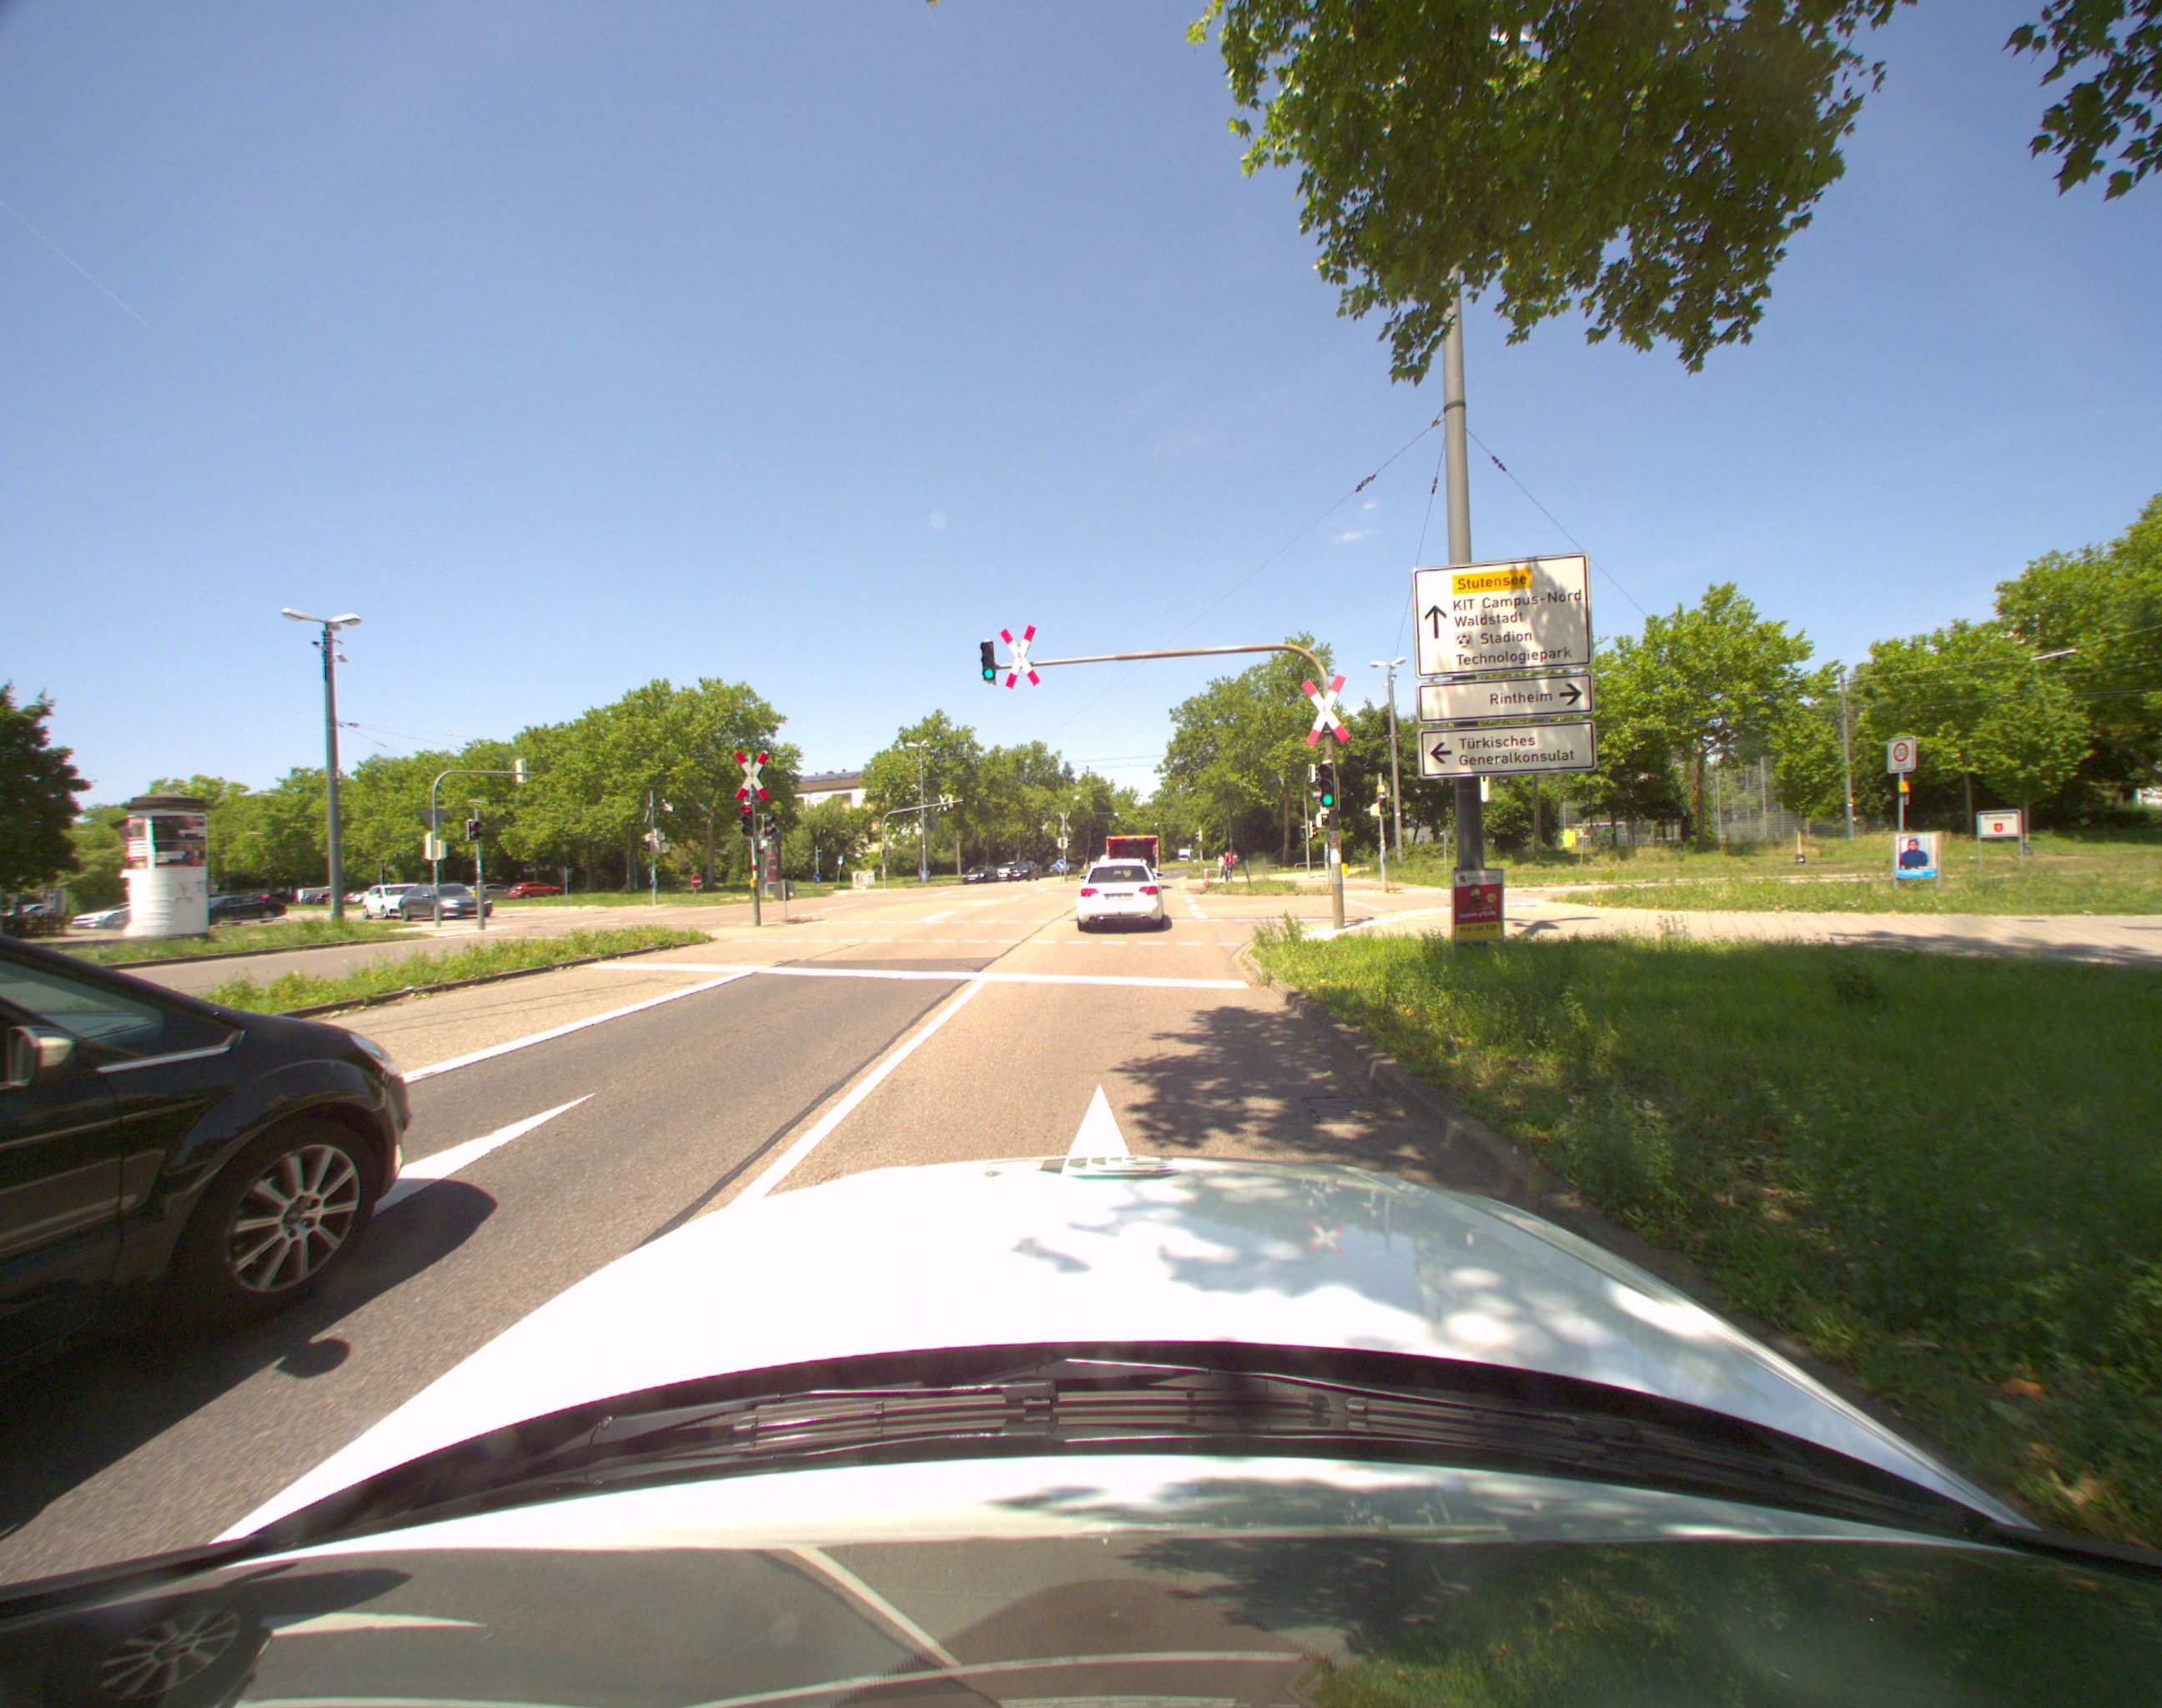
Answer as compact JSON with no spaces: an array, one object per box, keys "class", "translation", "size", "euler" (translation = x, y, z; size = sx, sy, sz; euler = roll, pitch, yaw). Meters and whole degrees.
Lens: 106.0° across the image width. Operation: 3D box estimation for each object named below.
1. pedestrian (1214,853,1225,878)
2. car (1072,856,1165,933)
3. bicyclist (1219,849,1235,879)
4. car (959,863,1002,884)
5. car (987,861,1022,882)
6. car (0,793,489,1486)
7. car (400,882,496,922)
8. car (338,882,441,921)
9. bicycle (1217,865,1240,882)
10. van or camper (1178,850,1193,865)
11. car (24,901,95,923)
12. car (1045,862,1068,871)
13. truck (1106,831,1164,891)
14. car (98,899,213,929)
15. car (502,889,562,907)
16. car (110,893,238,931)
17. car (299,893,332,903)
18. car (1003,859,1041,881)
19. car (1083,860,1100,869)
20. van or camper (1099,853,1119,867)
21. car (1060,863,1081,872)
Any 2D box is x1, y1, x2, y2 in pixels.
[{"class":"pedestrian","translation":[8.462,0.679,49.779],"size":[0.548,1.484,0.632],"euler":[-2,-1,16]},{"class":"car","translation":[0.835,0.781,17.415],"size":[1.755,1.445,3.619],"euler":[-1,0,4]},{"class":"bicyclist","translation":[7.939,0.537,44.247],"size":[0.578,1.556,0.671],"euler":[-2,-1,-11]},{"class":"car","translation":[-7.899,1.543,64.656],"size":[1.937,1.440,4.761],"euler":[-2,0,11]},{"class":"car","translation":[-6.695,1.524,71.714],"size":[1.775,1.615,4.418],"euler":[-2,0,12]},{"class":"car","translation":[-3.704,0.742,1.371],"size":[1.847,1.755,4.651],"euler":[-2,0,2]},{"class":"car","translation":[-25.784,1.928,33.144],"size":[3.941,1.457,1.776],"euler":[-2,0,31]},{"class":"car","translation":[-31.480,2.154,37.055],"size":[4.403,1.604,2.231],"euler":[-2,0,31]},{"class":"bicycle","translation":[7.983,1.040,44.128],"size":[0.587,0.895,1.805],"euler":[-2,-1,-10]},{"class":"van or camper","translation":[24.525,0.849,191.260],"size":[2.641,3.331,5.521],"euler":[-2,-1,14]},{"class":"car","translation":[-66.668,3.798,53.201],"size":[1.182,1.205,2.872],"euler":[-2,0,-5]},{"class":"car","translation":[-3.873,2.000,130.353],"size":[1.864,1.393,4.024],"euler":[-2,-1,26]},{"class":"truck","translation":[2.514,0.334,39.137],"size":[2.501,2.559,7.607],"euler":[-1,-1,3]},{"class":"car","translation":[-54.393,3.516,47.964],"size":[1.931,1.423,4.067],"euler":[-3,0,6]},{"class":"car","translation":[-47.983,3.809,71.274],"size":[1.440,1.397,4.161],"euler":[-1,-1,27]},{"class":"car","translation":[-47.101,2.988,42.435],"size":[1.770,1.651,4.198],"euler":[-2,0,4]},{"class":"car","translation":[-92.789,5.369,98.717],"size":[0.996,0.994,2.737],"euler":[-3,0,28]},{"class":"car","translation":[-4.618,1.244,63.971],"size":[1.897,1.539,4.311],"euler":[-2,0,10]},{"class":"car","translation":[1.902,1.839,145.233],"size":[1.866,1.474,4.020],"euler":[-2,-1,19]},{"class":"van or camper","translation":[5.288,1.130,153.813],"size":[2.164,2.587,5.336],"euler":[-3,0,20]},{"class":"car","translation":[-1.720,2.181,135.710],"size":[1.865,1.376,4.022],"euler":[-2,-1,23]}]
